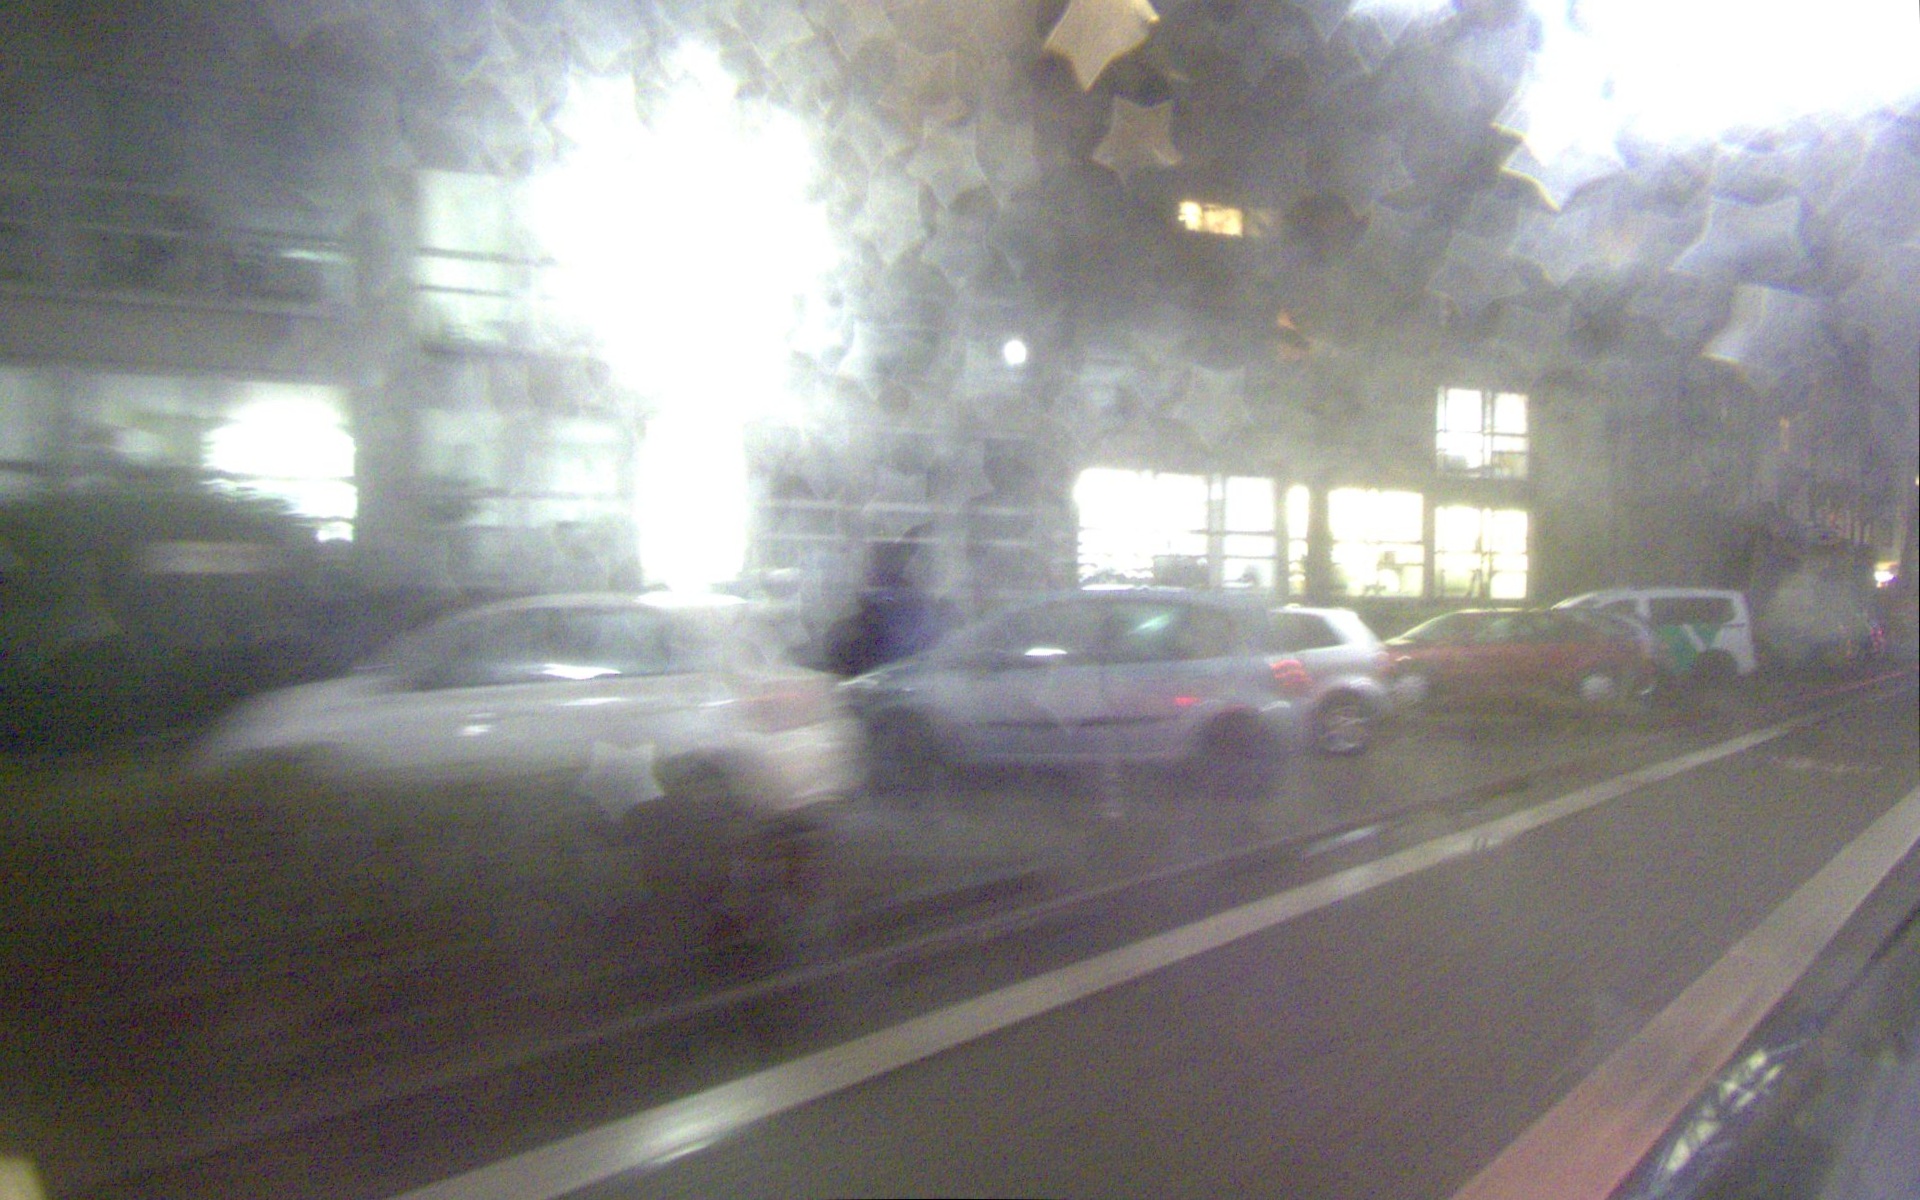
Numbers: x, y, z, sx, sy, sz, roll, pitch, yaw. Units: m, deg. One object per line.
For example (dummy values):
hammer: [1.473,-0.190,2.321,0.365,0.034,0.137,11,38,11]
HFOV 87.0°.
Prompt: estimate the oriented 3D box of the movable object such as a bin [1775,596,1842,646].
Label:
movable object such as a bin: [25.056,0.593,29.913,1.341,1.425,1.016,1,1,30]

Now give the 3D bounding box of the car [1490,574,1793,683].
car: [12.382,0.524,18.679,4.105,1.863,1.957,-1,-1,9]

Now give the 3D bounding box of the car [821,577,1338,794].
car: [0.937,0.621,8.451,3.824,1.553,1.817,0,-1,9]

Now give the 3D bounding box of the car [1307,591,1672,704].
car: [7.572,0.650,14.779,4.374,1.422,1.691,2,0,2]

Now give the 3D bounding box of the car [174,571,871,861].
car: [-2.508,0.653,6.390,3.683,1.553,1.702,-1,-1,3]

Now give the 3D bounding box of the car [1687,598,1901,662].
car: [20.781,0.715,25.347,3.785,1.507,1.806,0,1,3]

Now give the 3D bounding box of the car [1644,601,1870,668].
car: [18.280,0.780,23.347,3.768,1.457,1.597,-1,-1,6]

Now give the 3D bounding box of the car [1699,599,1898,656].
car: [22.596,0.734,27.415,3.726,1.477,1.766,-1,-1,8]

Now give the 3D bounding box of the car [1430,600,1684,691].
car: [9.815,0.716,16.900,3.289,1.403,1.623,0,0,15]

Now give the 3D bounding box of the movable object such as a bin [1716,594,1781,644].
movable object such as a bin: [23.856,0.560,30.645,1.400,1.425,1.016,1,1,30]

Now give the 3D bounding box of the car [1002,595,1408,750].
car: [2.372,0.711,10.579,3.787,1.452,1.819,-1,-1,5]
